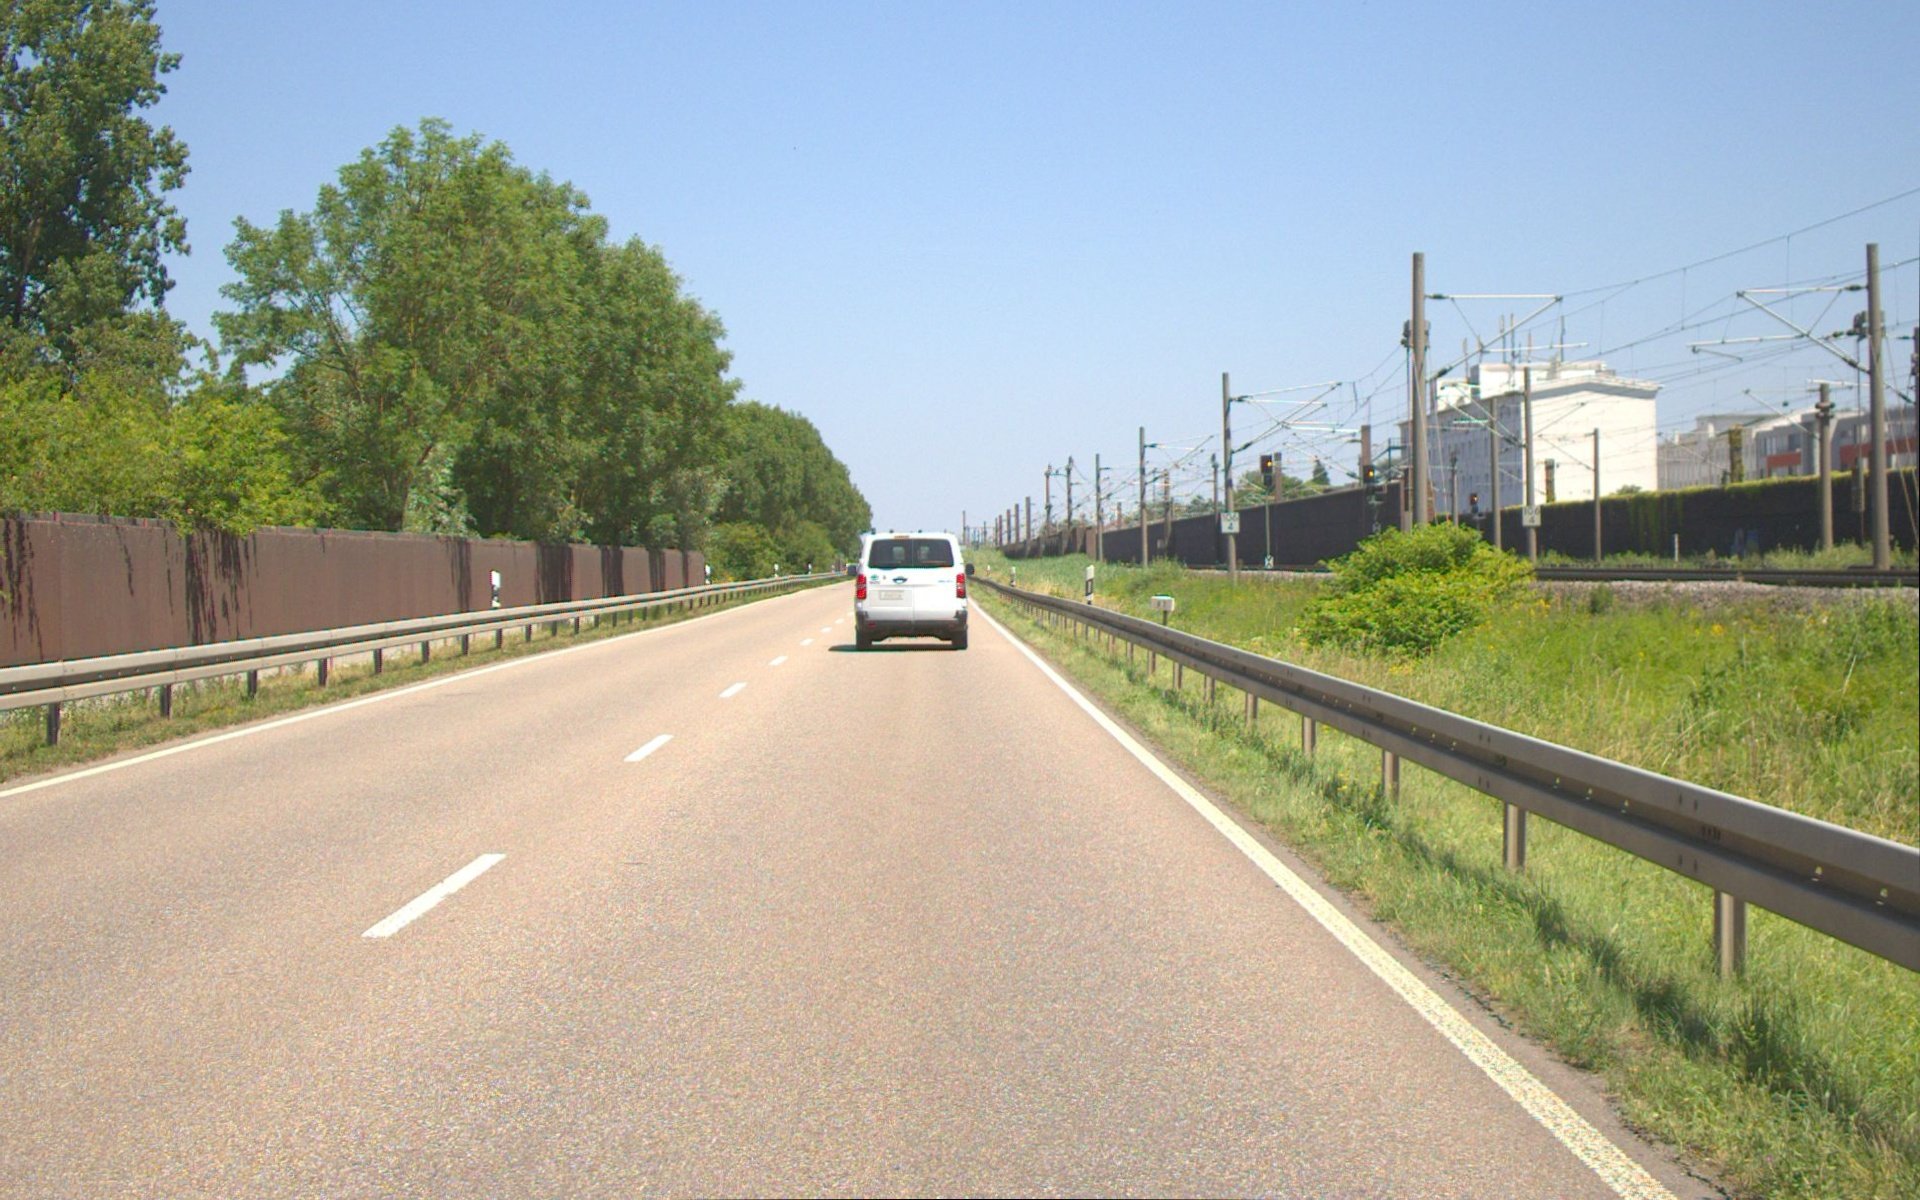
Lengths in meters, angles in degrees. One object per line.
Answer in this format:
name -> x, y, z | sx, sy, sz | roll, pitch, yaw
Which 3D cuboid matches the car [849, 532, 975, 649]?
car -> -0.797, -0.173, 57.515 | 1.993, 1.844, 4.000 | 1, 1, 0
